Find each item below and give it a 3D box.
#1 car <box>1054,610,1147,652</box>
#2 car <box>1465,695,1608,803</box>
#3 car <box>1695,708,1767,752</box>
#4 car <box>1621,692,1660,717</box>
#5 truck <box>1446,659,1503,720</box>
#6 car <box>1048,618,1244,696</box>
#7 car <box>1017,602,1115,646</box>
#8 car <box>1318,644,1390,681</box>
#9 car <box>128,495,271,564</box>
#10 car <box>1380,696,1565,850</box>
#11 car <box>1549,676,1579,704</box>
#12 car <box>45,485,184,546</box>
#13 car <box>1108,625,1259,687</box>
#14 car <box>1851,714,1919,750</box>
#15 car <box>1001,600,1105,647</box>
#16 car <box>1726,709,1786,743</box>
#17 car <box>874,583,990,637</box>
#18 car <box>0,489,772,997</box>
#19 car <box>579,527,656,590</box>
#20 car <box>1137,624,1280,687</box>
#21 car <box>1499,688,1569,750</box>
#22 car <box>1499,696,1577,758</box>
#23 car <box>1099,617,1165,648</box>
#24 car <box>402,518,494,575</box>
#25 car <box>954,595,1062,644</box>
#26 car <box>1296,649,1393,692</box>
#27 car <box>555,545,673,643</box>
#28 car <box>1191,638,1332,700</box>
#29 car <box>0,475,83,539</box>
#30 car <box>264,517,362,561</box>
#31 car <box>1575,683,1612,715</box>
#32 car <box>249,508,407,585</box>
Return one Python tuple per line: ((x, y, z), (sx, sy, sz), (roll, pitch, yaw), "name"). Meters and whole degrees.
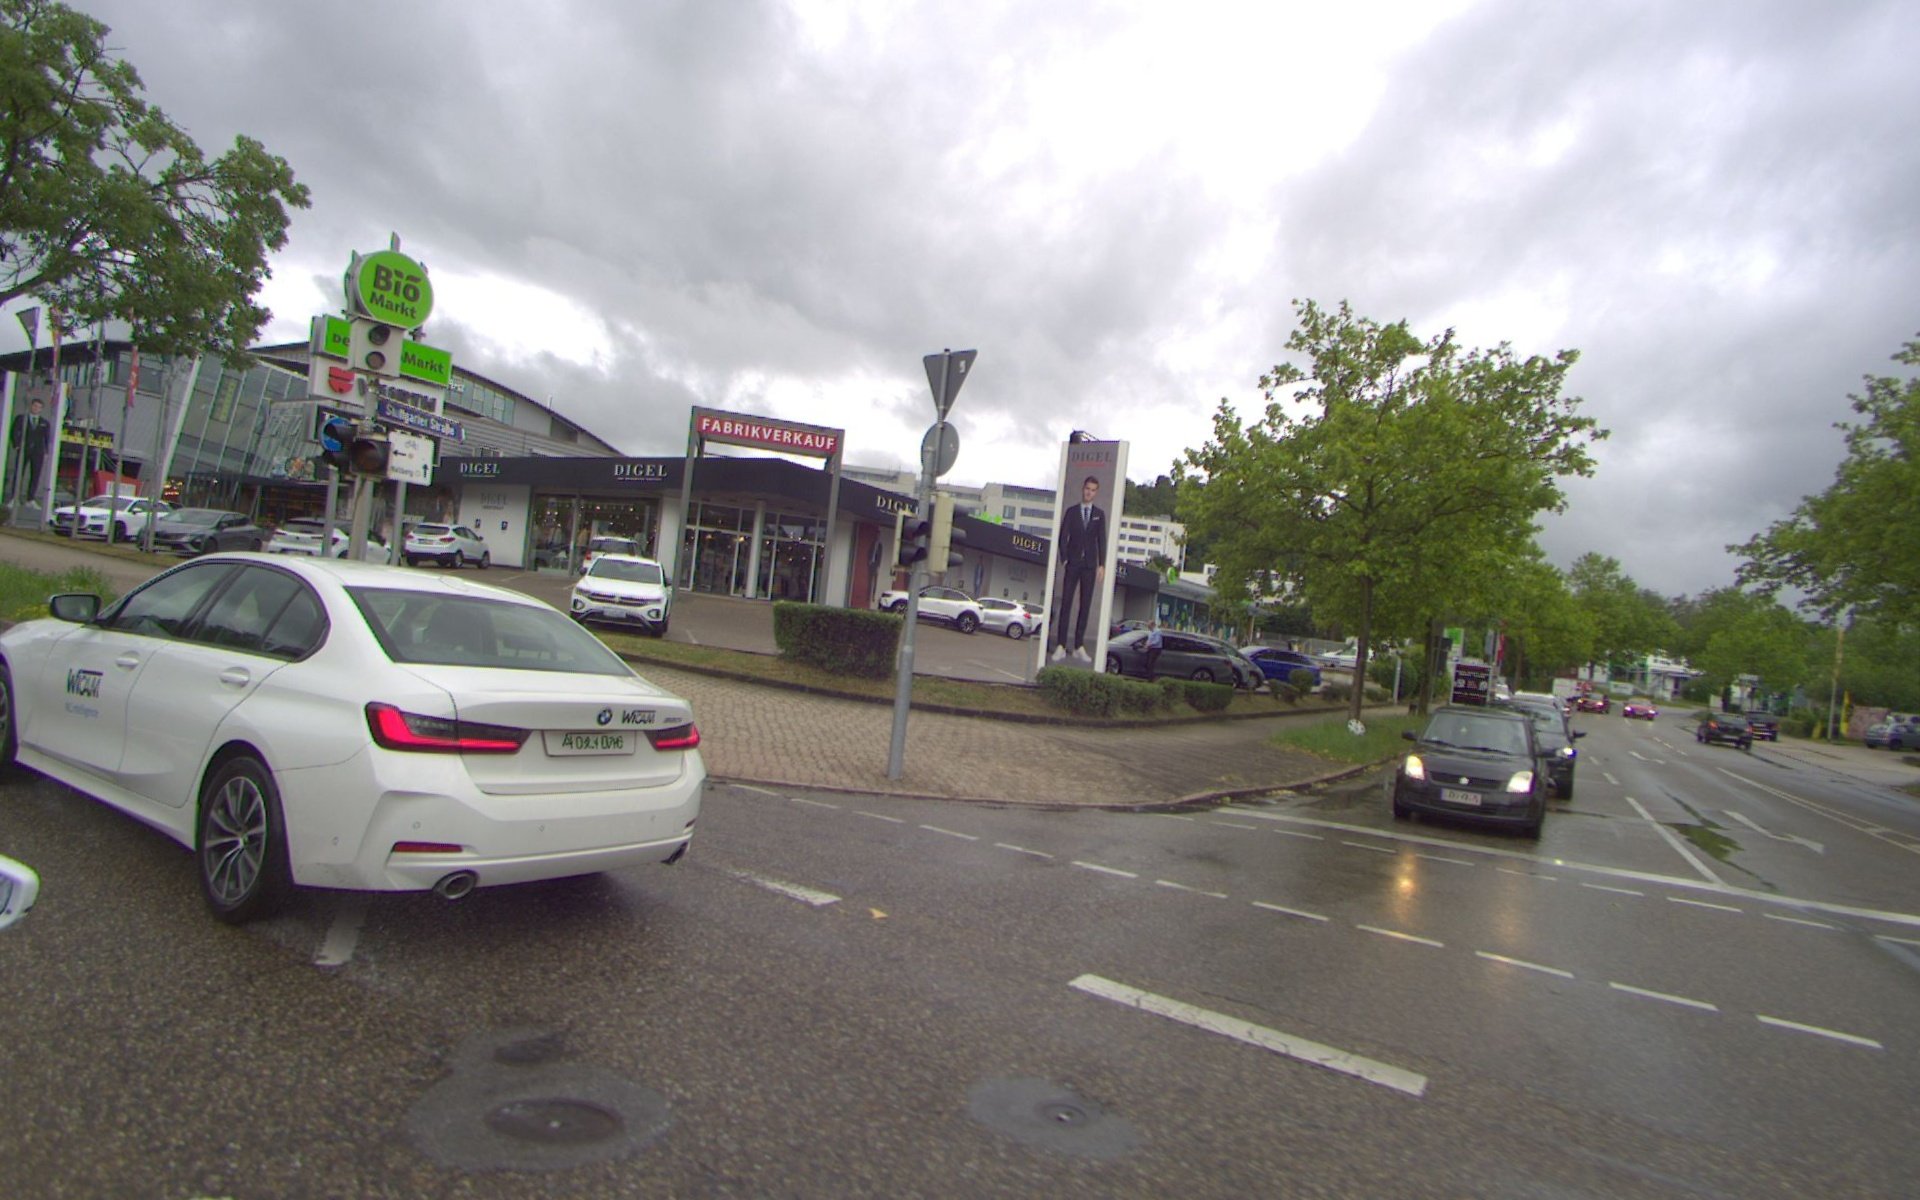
((6.827, 1.497, 49.043), (4.083, 1.499, 1.736), (7, 0, -8), "car")
((10.797, 2.746, 18.697), (1.712, 1.565, 4.144), (5, -4, 37), "car")
((34.975, 5.874, 45.751), (1.966, 1.548, 3.994), (7, -1, 30), "car")
((49.818, 7.629, 73.685), (1.966, 1.548, 3.994), (7, -1, 30), "car")
((23.705, 4.097, 46.279), (1.788, 2.515, 3.983), (6, -1, 32), "truck")
((5.209, 1.587, 28.407), (4.929, 1.504, 1.995), (7, 0, -13), "car")
((4.882, 1.107, 46.702), (4.083, 1.499, 1.736), (7, 0, -8), "car")
((25.805, 4.098, 65.950), (3.936, 1.816, 1.995), (7, 0, 34), "car")
((-22.106, -1.995, 29.423), (1.615, 1.554, 3.595), (7, -1, -7), "car")
((7.086, 2.189, 13.696), (1.788, 1.507, 3.983), (6, -1, 32), "car")
((53.053, 7.887, 88.359), (1.966, 2.216, 3.993), (7, 0, 30), "car")
((-28.265, -2.789, 33.779), (1.765, 1.555, 3.594), (7, 0, -7), "car")
((6.916, 1.744, 31.367), (4.082, 1.394, 1.983), (7, -3, -8), "car")
((50.265, 7.124, 53.370), (3.923, 1.459, 2.001), (7, 0, 10), "car")
((4.015, 1.003, 43.593), (4.083, 1.499, 1.736), (7, 0, -8), "car")
((44.818, 7.079, 56.735), (1.966, 1.459, 3.994), (7, -1, 30), "car")
((-1.101, 0.392, 38.056), (4.083, 1.499, 1.736), (7, 0, -8), "car")
((-3.381, 0.432, 5.308), (4.544, 1.561, 1.805), (6, -3, 32), "car")
((-11.560, -1.333, 34.179), (1.709, 1.792, 4.147), (7, -1, -10), "car")
((8.399, 1.896, 34.151), (4.154, 1.596, 2.000), (7, -3, -8), "car")
((20.827, 4.222, 36.429), (1.893, 1.861, 4.332), (6, -1, 32), "car")
((17.508, 3.776, 30.397), (1.788, 1.465, 3.983), (6, -1, 32), "car")
((9.513, 1.775, 55.687), (3.190, 1.286, 1.538), (7, 0, -8), "car")
((-19.746, -2.014, 38.995), (1.708, 1.792, 4.150), (7, -1, -7), "car")
((1.936, 0.786, 41.060), (4.080, 1.499, 1.737), (7, 0, -4), "car")
((20.526, 3.744, 53.714), (4.371, 1.638, 1.931), (7, 0, 36), "car")
((-7.010, -0.142, 20.765), (1.903, 1.595, 4.274), (7, -1, -16), "car")
((11.863, 2.717, 39.657), (4.849, 1.812, 1.998), (8, -3, -12), "car")
((-37.371, -3.787, 39.381), (1.770, 2.131, 4.116), (7, -1, 33), "car")
((-28.353, -2.645, 44.237), (1.799, 1.486, 4.151), (7, 0, -5), "car")
((47.331, 7.379, 75.221), (1.966, 2.038, 3.993), (7, 0, 30), "car")
((-16.898, -1.387, 27.147), (1.948, 1.684, 4.020), (7, 1, -7), "car")
